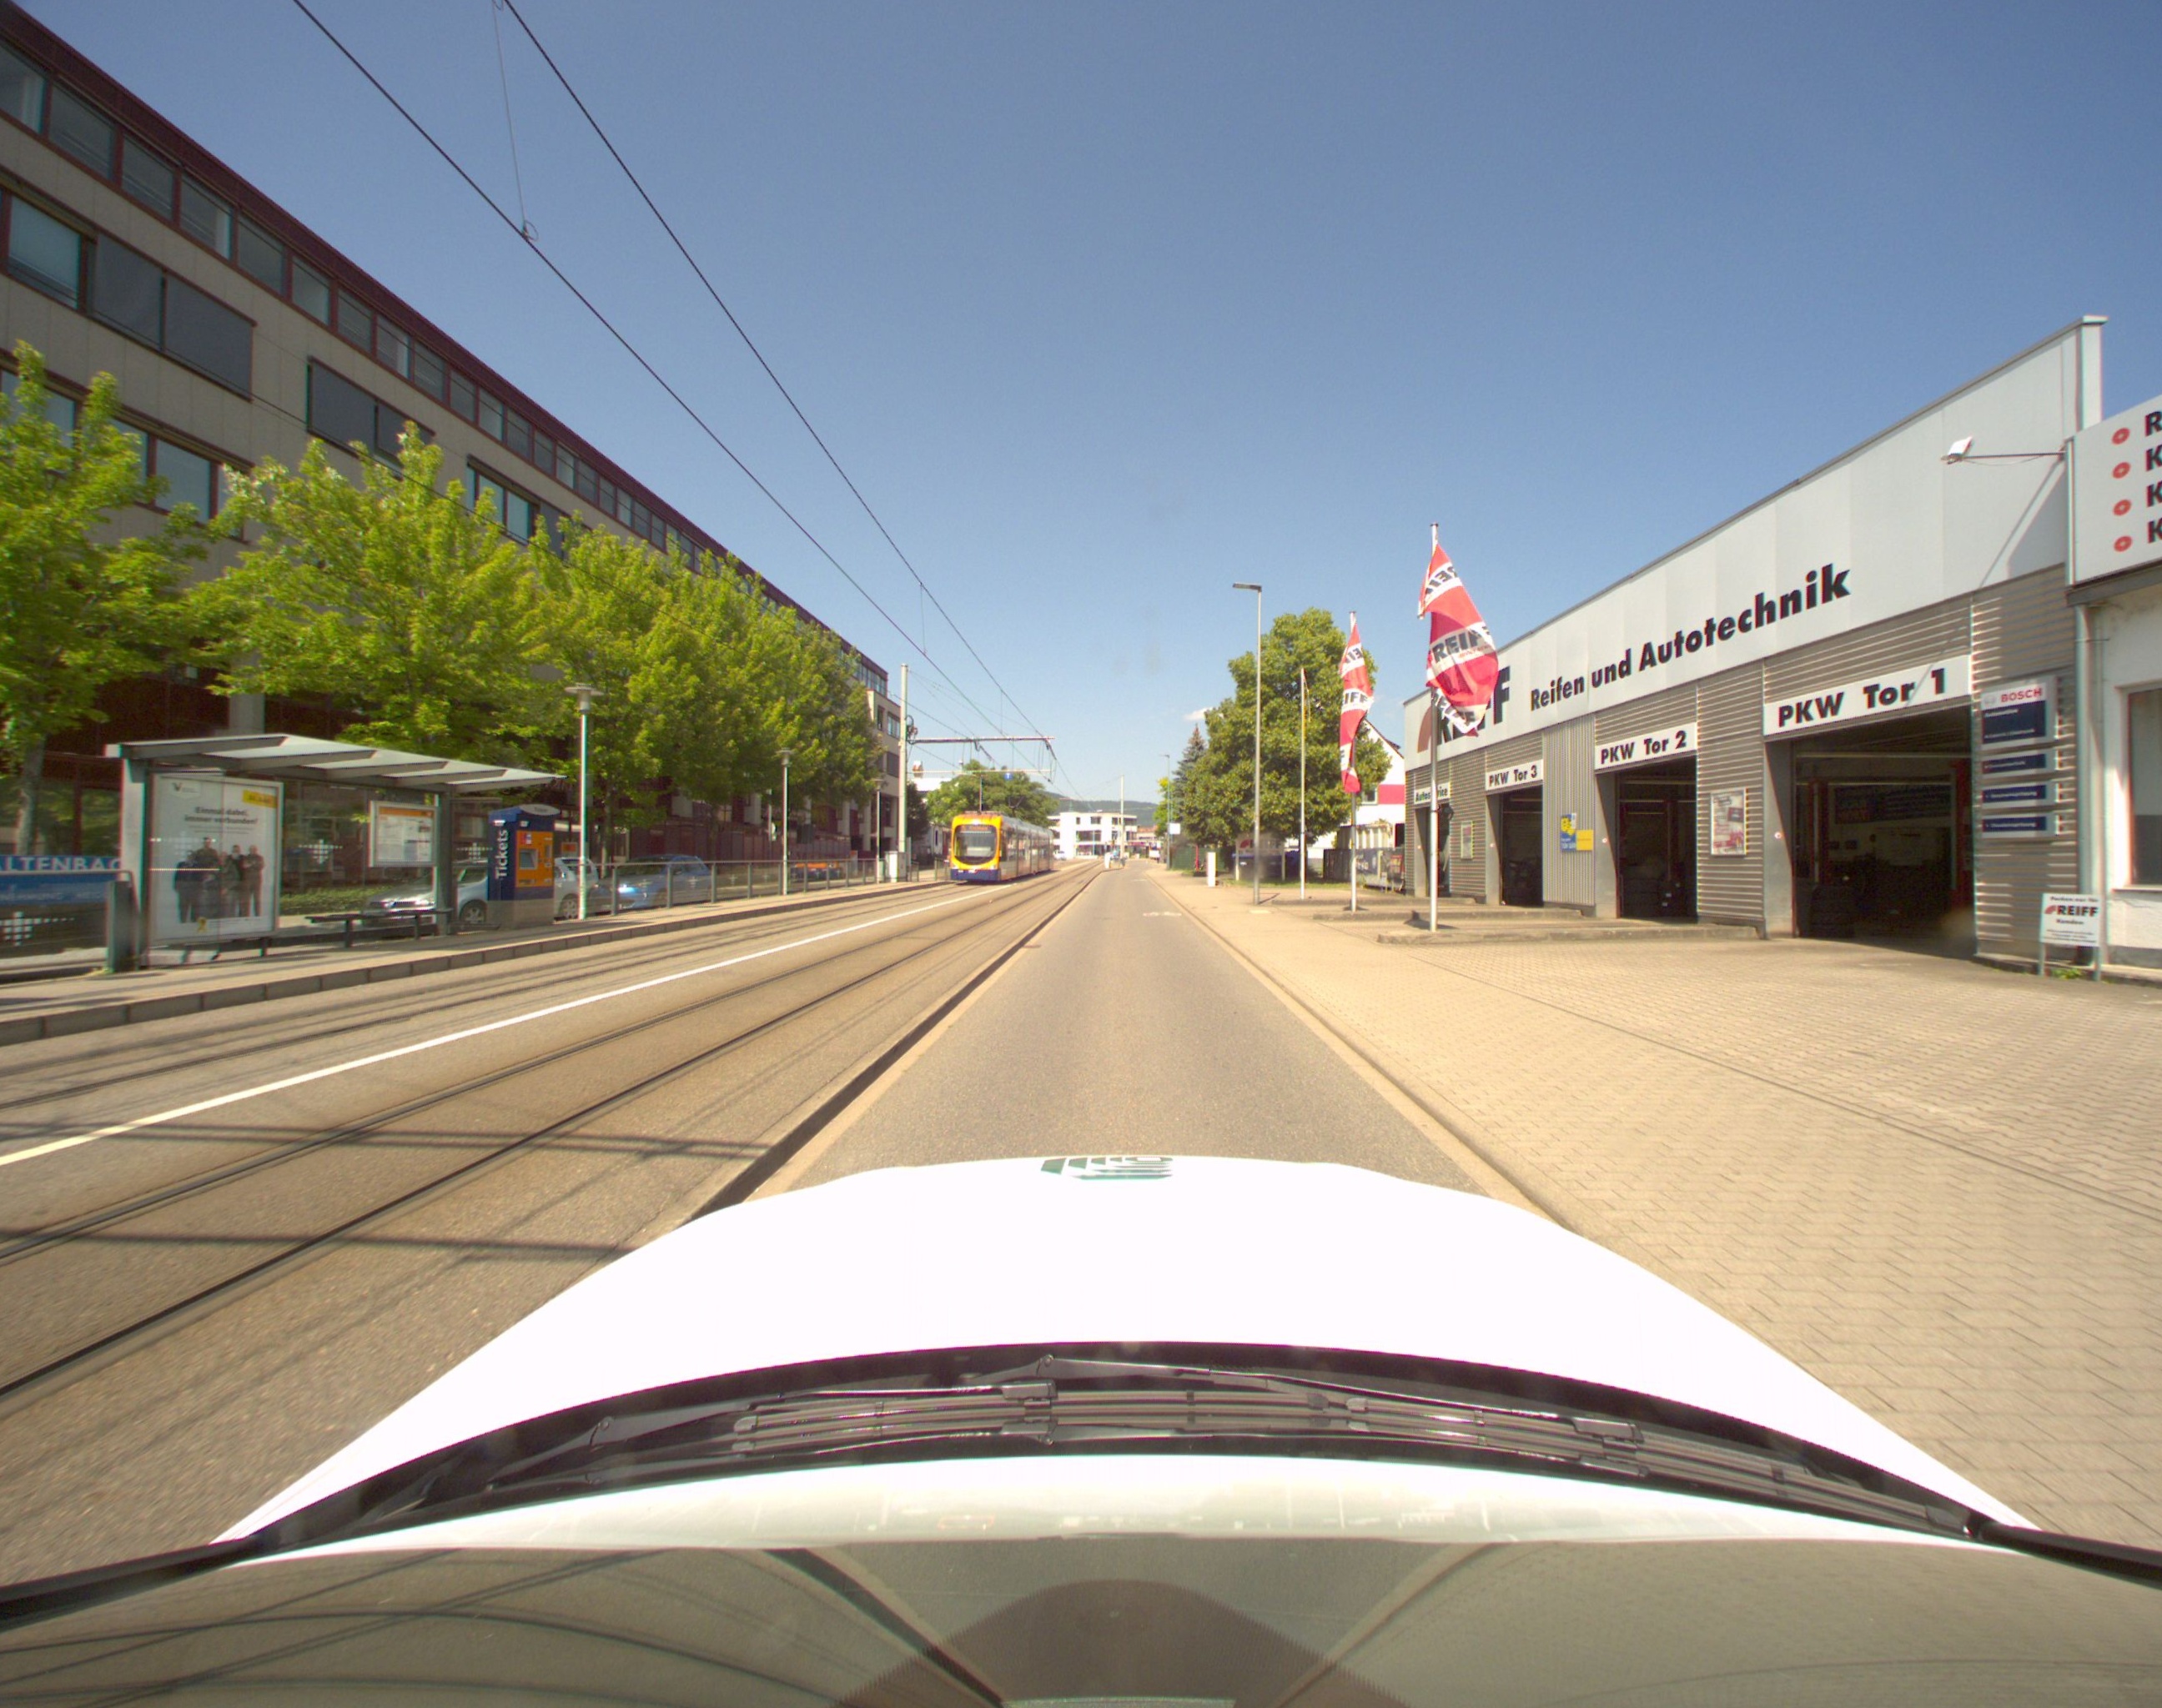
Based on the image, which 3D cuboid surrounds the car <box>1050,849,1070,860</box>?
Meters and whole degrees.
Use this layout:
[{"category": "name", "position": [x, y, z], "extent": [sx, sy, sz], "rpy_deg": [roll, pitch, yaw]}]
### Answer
[{"category": "car", "position": [-4.020, 0.121, 158.180], "extent": [1.842, 1.937, 4.026], "rpy_deg": [2, 2, 35]}]

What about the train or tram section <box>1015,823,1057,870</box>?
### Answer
[{"category": "train or tram section", "position": [-3.429, -0.536, 63.181], "extent": [2.570, 3.447, 6.367], "rpy_deg": [0, 0, 2]}]

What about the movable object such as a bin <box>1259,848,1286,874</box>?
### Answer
[{"category": "movable object such as a bin", "position": [10.829, 0.417, 46.053], "extent": [1.304, 1.430, 0.890], "rpy_deg": [0, -2, 28]}]

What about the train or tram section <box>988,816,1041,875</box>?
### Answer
[{"category": "train or tram section", "position": [-4.024, -0.486, 50.294], "extent": [2.601, 3.447, 5.013], "rpy_deg": [0, 0, 2]}]

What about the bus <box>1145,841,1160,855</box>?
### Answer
[{"category": "bus", "position": [15.051, -1.218, 171.892], "extent": [2.428, 2.880, 8.792], "rpy_deg": [0, 0, 1]}]

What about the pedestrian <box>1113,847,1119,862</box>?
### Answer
[{"category": "pedestrian", "position": [4.247, 0.065, 98.236], "extent": [0.740, 1.740, 0.728], "rpy_deg": [0, 0, 2]}]

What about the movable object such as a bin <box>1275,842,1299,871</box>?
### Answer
[{"category": "movable object such as a bin", "position": [11.219, 0.162, 44.323], "extent": [0.975, 1.547, 1.320], "rpy_deg": [1, -2, -1]}]

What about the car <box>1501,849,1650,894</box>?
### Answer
[{"category": "car", "position": [15.625, 0.529, 25.866], "extent": [3.752, 1.376, 1.724], "rpy_deg": [0, 0, -2]}]

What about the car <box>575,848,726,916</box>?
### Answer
[{"category": "car", "position": [-11.378, 0.682, 21.892], "extent": [1.716, 1.584, 4.073], "rpy_deg": [-2, 0, 2]}]

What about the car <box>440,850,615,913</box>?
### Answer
[{"category": "car", "position": [-14.385, 0.652, 21.475], "extent": [1.715, 1.463, 3.908], "rpy_deg": [2, 0, 4]}]

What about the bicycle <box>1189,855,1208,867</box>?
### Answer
[{"category": "bicycle", "position": [9.285, 0.560, 64.347], "extent": [1.465, 0.990, 0.388], "rpy_deg": [0, -3, 2]}]

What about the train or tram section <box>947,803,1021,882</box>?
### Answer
[{"category": "train or tram section", "position": [-4.527, -0.515, 39.053], "extent": [2.600, 3.533, 5.746], "rpy_deg": [0, 0, 2]}]

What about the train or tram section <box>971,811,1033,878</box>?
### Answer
[{"category": "train or tram section", "position": [-4.250, -0.479, 44.835], "extent": [2.600, 3.447, 5.847], "rpy_deg": [0, 0, 2]}]

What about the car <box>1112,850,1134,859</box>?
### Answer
[{"category": "car", "position": [8.279, 0.164, 160.935], "extent": [3.961, 1.750, 1.781], "rpy_deg": [0, 0, 11]}]

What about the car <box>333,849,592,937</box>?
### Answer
[{"category": "car", "position": [-11.890, 0.671, 16.101], "extent": [1.716, 1.472, 4.281], "rpy_deg": [-1, 0, 2]}]

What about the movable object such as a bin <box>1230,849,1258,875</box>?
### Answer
[{"category": "movable object such as a bin", "position": [9.357, 0.458, 46.715], "extent": [1.371, 1.430, 0.996], "rpy_deg": [0, -2, 28]}]

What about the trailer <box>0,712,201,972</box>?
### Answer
[{"category": "trailer", "position": [-12.362, -0.116, 6.275], "extent": [2.786, 2.628, 7.603], "rpy_deg": [0, 0, 1]}]

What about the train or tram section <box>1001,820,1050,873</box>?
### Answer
[{"category": "train or tram section", "position": [-3.747, -0.498, 56.391], "extent": [2.570, 3.447, 7.141], "rpy_deg": [0, 0, 2]}]
